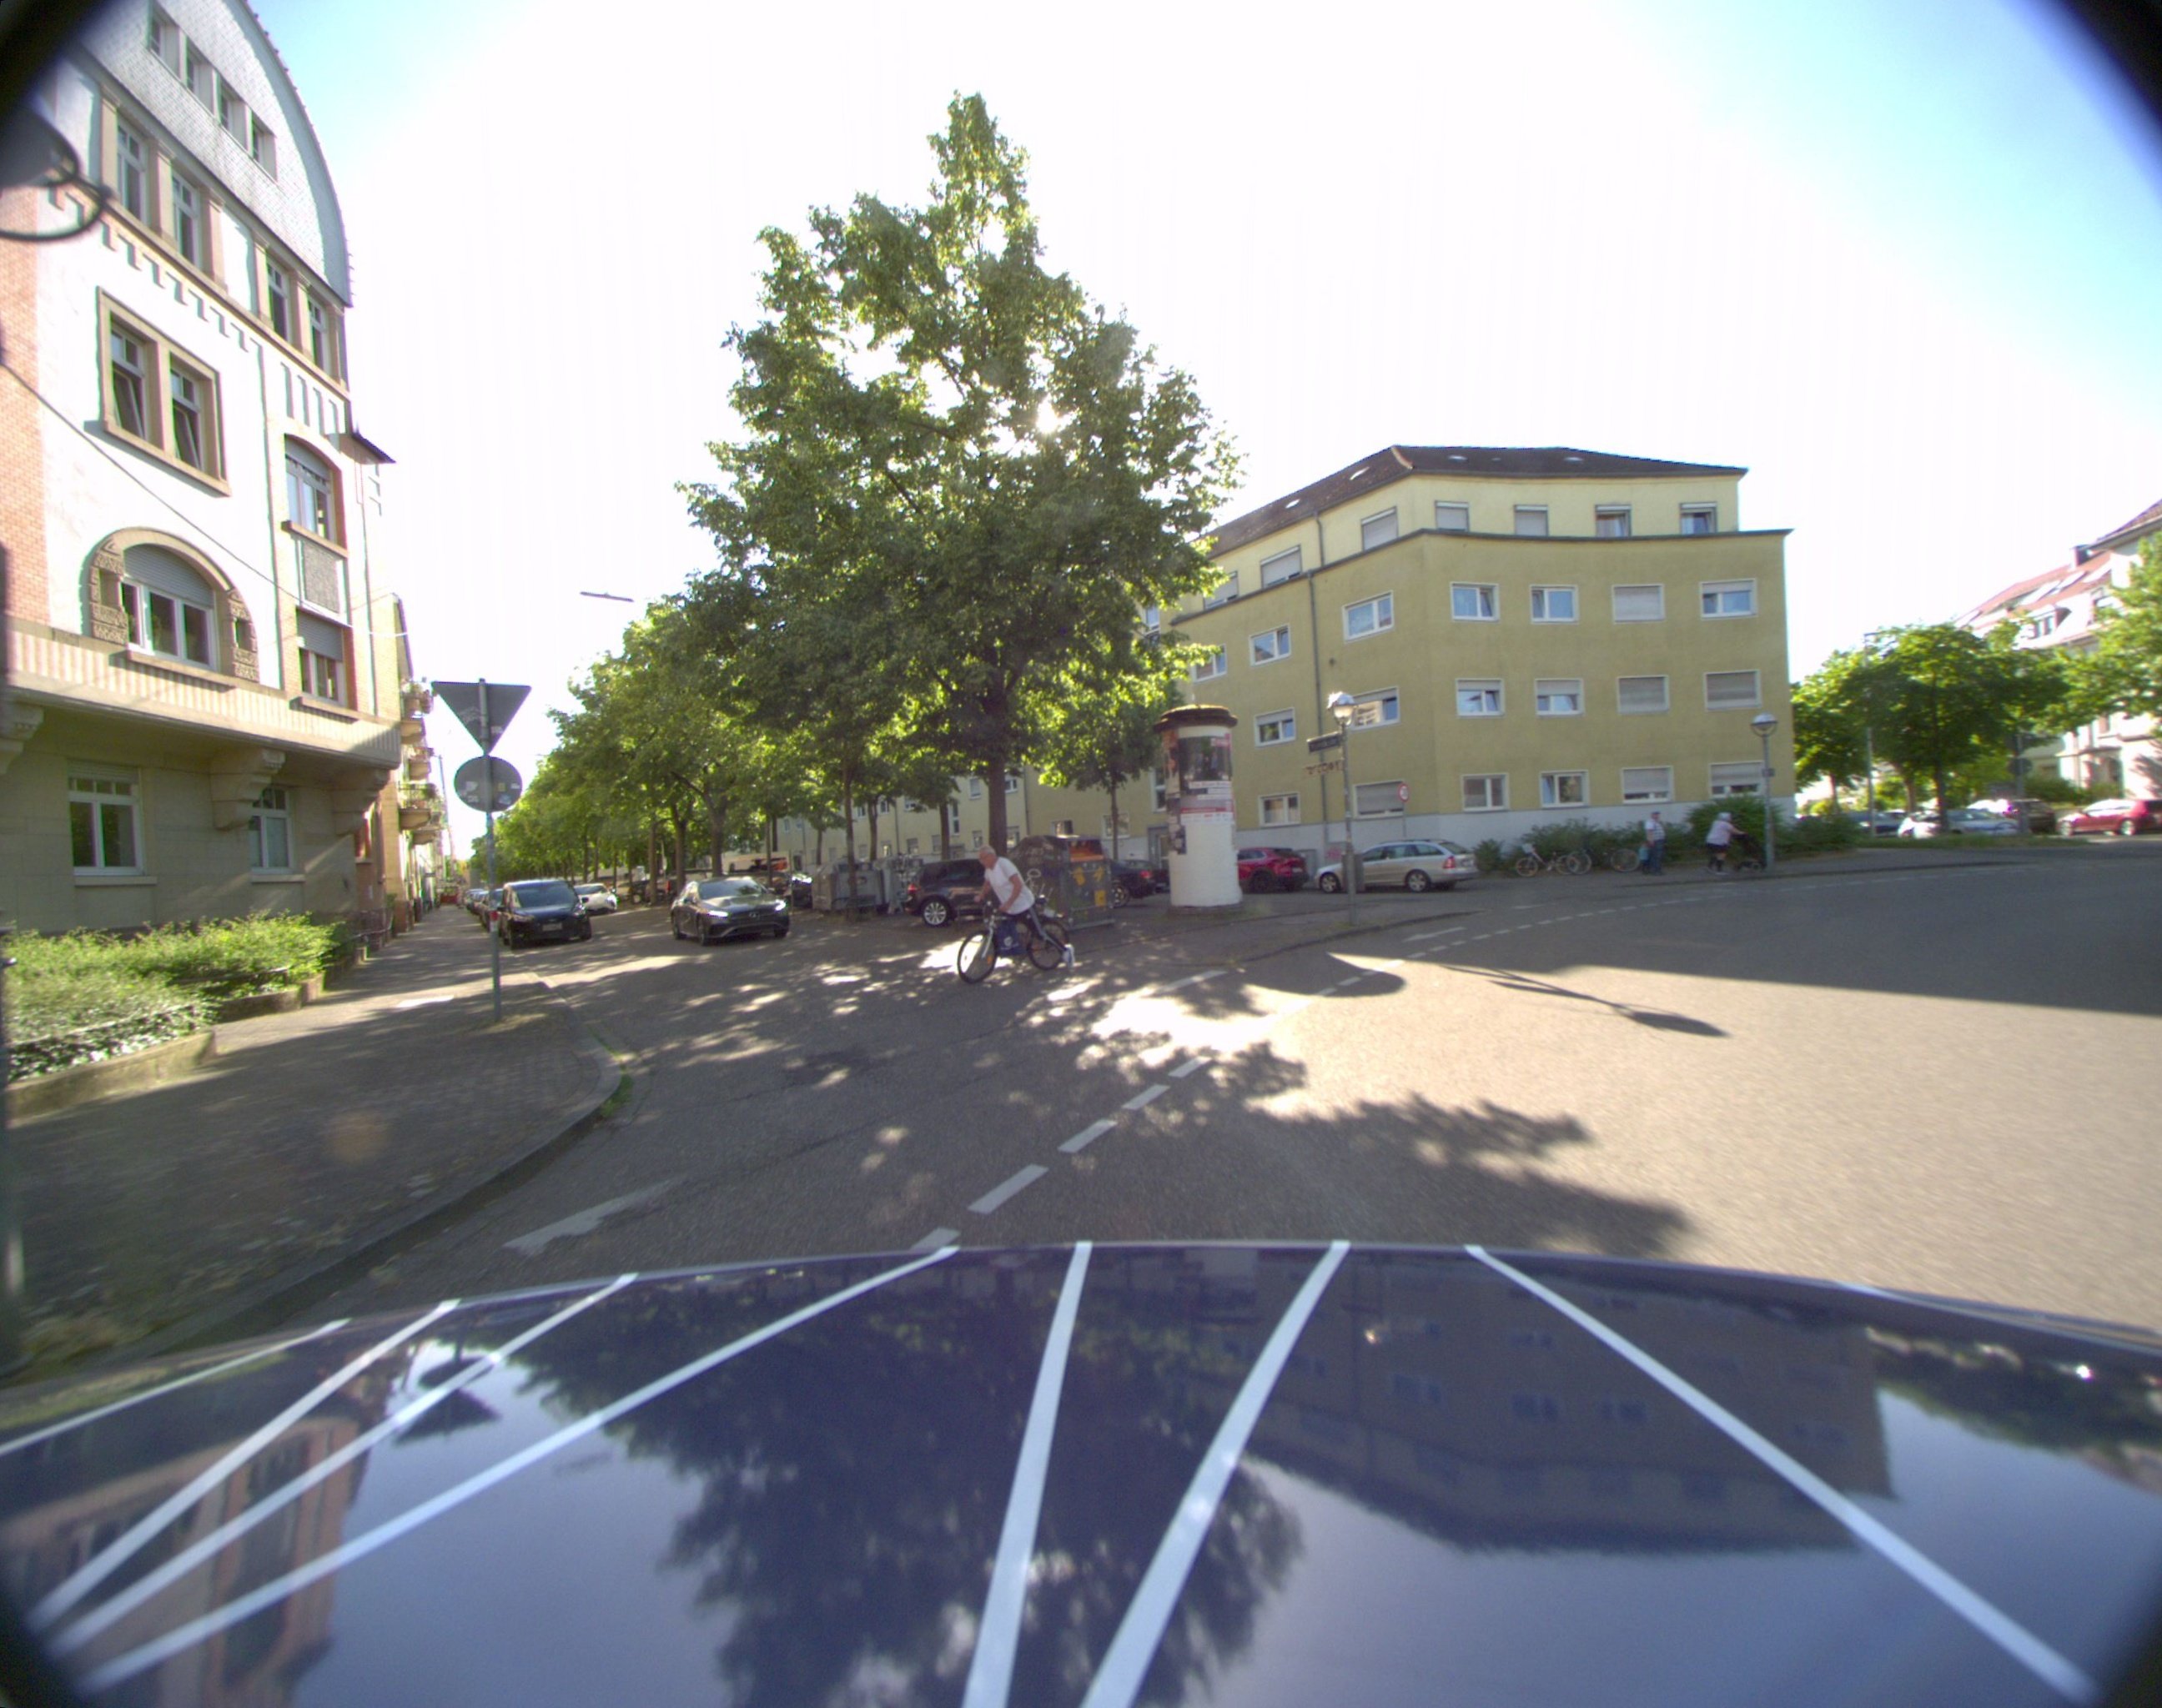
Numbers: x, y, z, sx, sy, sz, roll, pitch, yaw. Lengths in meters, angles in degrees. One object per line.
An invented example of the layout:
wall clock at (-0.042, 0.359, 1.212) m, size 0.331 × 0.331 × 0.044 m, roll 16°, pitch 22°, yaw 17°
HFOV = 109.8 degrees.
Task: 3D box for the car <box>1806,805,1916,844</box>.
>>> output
car at (35.790, -1.301, 35.012) m, size 1.796 × 1.566 × 4.005 m, roll -4°, pitch 0°, yaw 18°

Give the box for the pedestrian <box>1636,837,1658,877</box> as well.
pedestrian at (15.225, 0.081, 20.448) m, size 0.406 × 1.034 × 0.377 m, roll -4°, pitch 4°, yaw 31°

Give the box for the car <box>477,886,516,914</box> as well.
car at (-38.122, 2.956, 49.552) m, size 1.801 × 1.547 × 4.198 m, roll -6°, pitch 2°, yaw -38°

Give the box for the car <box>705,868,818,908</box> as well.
car at (-13.697, 1.447, 32.740) m, size 3.997 × 1.444 × 1.823 m, roll -3°, pitch 0°, yaw -1°

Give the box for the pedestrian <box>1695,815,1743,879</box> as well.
pedestrian at (16.050, -0.184, 19.120) m, size 0.696 × 1.515 × 0.651 m, roll -4°, pitch 3°, yaw 22°

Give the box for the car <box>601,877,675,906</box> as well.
car at (-30.869, 2.581, 53.048) m, size 4.002 × 1.677 × 1.821 m, roll -3°, pitch 0°, yaw -15°

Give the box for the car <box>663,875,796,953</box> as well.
car at (-8.208, 1.302, 17.536) m, size 1.801 × 1.427 × 4.198 m, roll -5°, pitch 1°, yaw -37°

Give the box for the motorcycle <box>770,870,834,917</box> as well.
motorcycle at (-8.938, 1.252, 24.411) m, size 0.726 × 1.340 × 1.803 m, roll -3°, pitch 0°, yaw 33°

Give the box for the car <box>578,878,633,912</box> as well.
car at (-23.229, 1.982, 37.054) m, size 1.801 × 1.427 × 4.198 m, roll -5°, pitch 1°, yaw -37°

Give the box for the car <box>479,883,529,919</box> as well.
car at (-29.191, 2.331, 38.437) m, size 1.801 × 1.547 × 4.198 m, roll -6°, pitch 2°, yaw -38°

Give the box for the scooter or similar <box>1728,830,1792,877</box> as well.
scooter or similar at (16.885, -0.020, 18.914) m, size 0.897 × 1.017 × 0.918 m, roll -4°, pitch 3°, yaw 23°

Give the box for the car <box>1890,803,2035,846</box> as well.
car at (33.785, -1.078, 29.300) m, size 1.800 × 1.403 × 4.005 m, roll -4°, pitch 0°, yaw 18°

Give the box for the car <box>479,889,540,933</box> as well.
car at (-24.018, 2.324, 31.928) m, size 1.801 × 1.547 × 4.198 m, roll -6°, pitch 2°, yaw -38°

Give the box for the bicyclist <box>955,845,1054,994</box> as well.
bicyclist at (-0.939, 0.765, 9.287) m, size 0.814 × 1.686 × 0.763 m, roll -4°, pitch 1°, yaw -41°

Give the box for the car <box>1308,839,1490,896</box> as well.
car at (8.975, 0.419, 21.787) m, size 1.736 × 1.403 × 4.478 m, roll -3°, pitch 0°, yaw -40°

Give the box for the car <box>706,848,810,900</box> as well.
car at (-17.302, 1.055, 40.901) m, size 4.593 × 2.476 × 1.986 m, roll -3°, pitch 0°, yaw -6°

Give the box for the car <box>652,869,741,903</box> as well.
car at (-21.703, 1.798, 42.973) m, size 3.997 × 1.624 × 1.823 m, roll -3°, pitch 0°, yaw -1°

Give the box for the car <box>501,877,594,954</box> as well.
car at (-15.012, 1.631, 21.271) m, size 1.801 × 1.757 × 4.198 m, roll -6°, pitch 2°, yaw -38°

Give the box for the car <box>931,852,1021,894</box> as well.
car at (-4.682, 0.894, 33.405) m, size 1.737 × 1.618 × 4.605 m, roll 7°, pitch -6°, yaw -38°

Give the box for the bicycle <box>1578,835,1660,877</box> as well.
bicycle at (15.229, 0.054, 21.558) m, size 1.796 × 1.101 × 0.501 m, roll -3°, pitch 0°, yaw 26°

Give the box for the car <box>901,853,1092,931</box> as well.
car at (-1.797, 0.820, 17.098) m, size 3.997 × 1.464 × 1.760 m, roll -3°, pitch 0°, yaw 1°

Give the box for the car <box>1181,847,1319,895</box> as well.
car at (5.622, 0.616, 25.781) m, size 1.738 × 1.430 × 4.376 m, roll -3°, pitch 0°, yaw -40°

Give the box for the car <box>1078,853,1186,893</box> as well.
car at (1.971, 0.790, 30.667) m, size 1.738 × 1.430 × 4.376 m, roll -3°, pitch 0°, yaw -40°

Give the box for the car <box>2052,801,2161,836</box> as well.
car at (41.570, -1.418, 30.297) m, size 1.796 × 1.248 × 3.724 m, roll -3°, pitch 0°, yaw 20°

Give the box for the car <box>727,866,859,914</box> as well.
car at (-10.349, 1.273, 27.490) m, size 3.997 × 1.433 × 1.823 m, roll -3°, pitch 0°, yaw -1°

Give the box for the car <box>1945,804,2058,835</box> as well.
car at (44.092, -1.628, 36.519) m, size 1.796 × 1.248 × 3.724 m, roll -3°, pitch 0°, yaw 20°

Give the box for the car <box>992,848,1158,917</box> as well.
car at (-0.149, 0.698, 19.464) m, size 3.997 × 1.464 × 1.759 m, roll -3°, pitch 0°, yaw 0°

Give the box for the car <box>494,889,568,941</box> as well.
car at (-18.920, 2.022, 26.066) m, size 1.801 × 1.445 × 4.198 m, roll -6°, pitch 2°, yaw -38°

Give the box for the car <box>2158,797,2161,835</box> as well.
car at (40.060, -1.418, 25.968) m, size 1.796 × 1.404 × 4.006 m, roll -3°, pitch 0°, yaw 21°

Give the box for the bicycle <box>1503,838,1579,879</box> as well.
bicycle at (13.509, 0.140, 22.343) m, size 1.795 × 1.101 × 0.501 m, roll -3°, pitch 0°, yaw 40°

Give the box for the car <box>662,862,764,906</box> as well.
car at (-18.096, 1.455, 37.499) m, size 3.997 × 1.887 × 1.823 m, roll -3°, pitch 0°, yaw -1°

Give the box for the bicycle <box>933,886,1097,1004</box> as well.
bicycle at (-0.778, 1.056, 9.428) m, size 1.873 × 1.191 × 0.763 m, roll -4°, pitch 1°, yaw -41°

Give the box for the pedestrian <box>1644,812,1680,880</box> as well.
pedestrian at (15.172, -0.210, 19.858) m, size 0.607 × 1.684 × 0.555 m, roll -4°, pitch 4°, yaw 31°

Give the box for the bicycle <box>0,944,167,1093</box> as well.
bicycle at (-9.367, 1.428, 6.473) m, size 1.944 × 1.114 × 0.687 m, roll -2°, pitch 0°, yaw -15°
